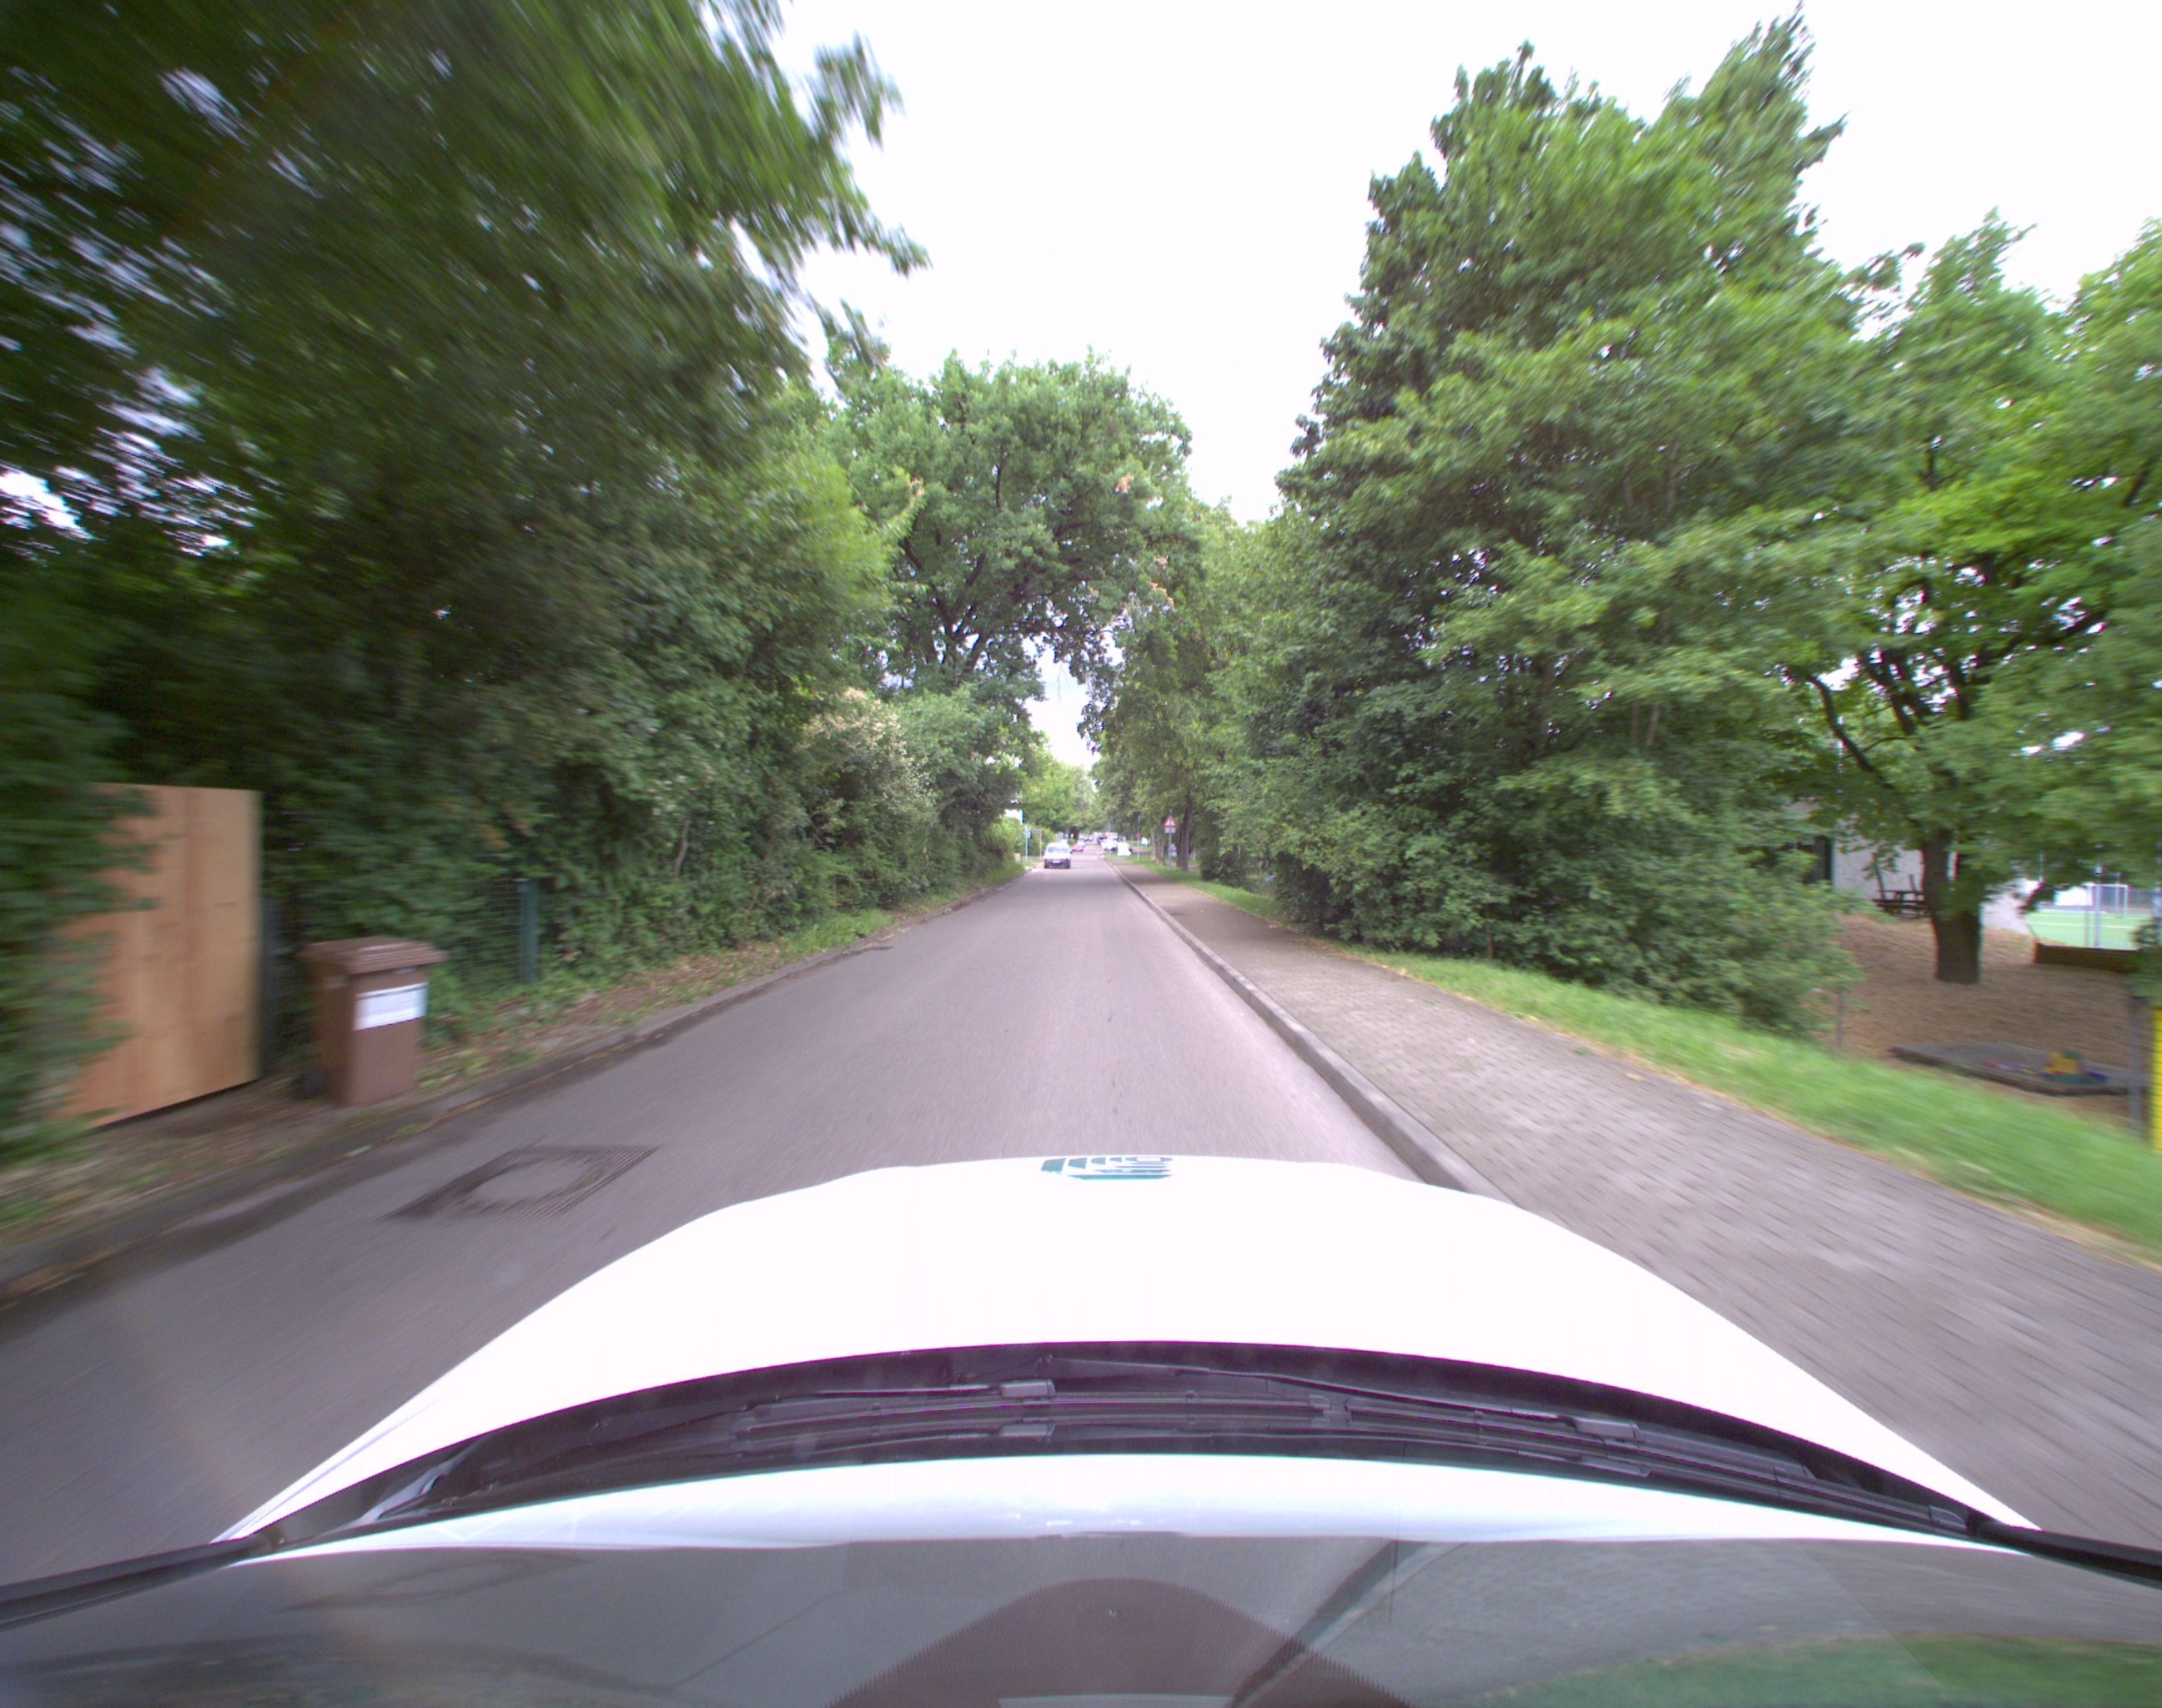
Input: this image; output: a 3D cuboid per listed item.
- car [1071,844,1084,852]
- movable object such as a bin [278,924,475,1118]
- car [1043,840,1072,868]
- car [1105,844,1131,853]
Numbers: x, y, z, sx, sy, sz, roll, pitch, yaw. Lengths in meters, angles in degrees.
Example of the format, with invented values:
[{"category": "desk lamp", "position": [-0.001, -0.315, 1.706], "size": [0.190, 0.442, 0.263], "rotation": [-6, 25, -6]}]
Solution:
[{"category": "car", "position": [-0.594, -1.007, 133.991], "size": [1.748, 1.335, 4.058], "rotation": [1, 1, -5]}, {"category": "movable object such as a bin", "position": [-4.195, 0.955, 4.883], "size": [0.644, 1.012, 0.634], "rotation": [-1, -1, 16]}, {"category": "car", "position": [-1.637, -0.006, 57.823], "size": [1.867, 1.913, 4.430], "rotation": [0, 0, 0]}, {"category": "car", "position": [5.790, -0.881, 127.591], "size": [4.050, 1.434, 1.999], "rotation": [0, -1, -1]}]
